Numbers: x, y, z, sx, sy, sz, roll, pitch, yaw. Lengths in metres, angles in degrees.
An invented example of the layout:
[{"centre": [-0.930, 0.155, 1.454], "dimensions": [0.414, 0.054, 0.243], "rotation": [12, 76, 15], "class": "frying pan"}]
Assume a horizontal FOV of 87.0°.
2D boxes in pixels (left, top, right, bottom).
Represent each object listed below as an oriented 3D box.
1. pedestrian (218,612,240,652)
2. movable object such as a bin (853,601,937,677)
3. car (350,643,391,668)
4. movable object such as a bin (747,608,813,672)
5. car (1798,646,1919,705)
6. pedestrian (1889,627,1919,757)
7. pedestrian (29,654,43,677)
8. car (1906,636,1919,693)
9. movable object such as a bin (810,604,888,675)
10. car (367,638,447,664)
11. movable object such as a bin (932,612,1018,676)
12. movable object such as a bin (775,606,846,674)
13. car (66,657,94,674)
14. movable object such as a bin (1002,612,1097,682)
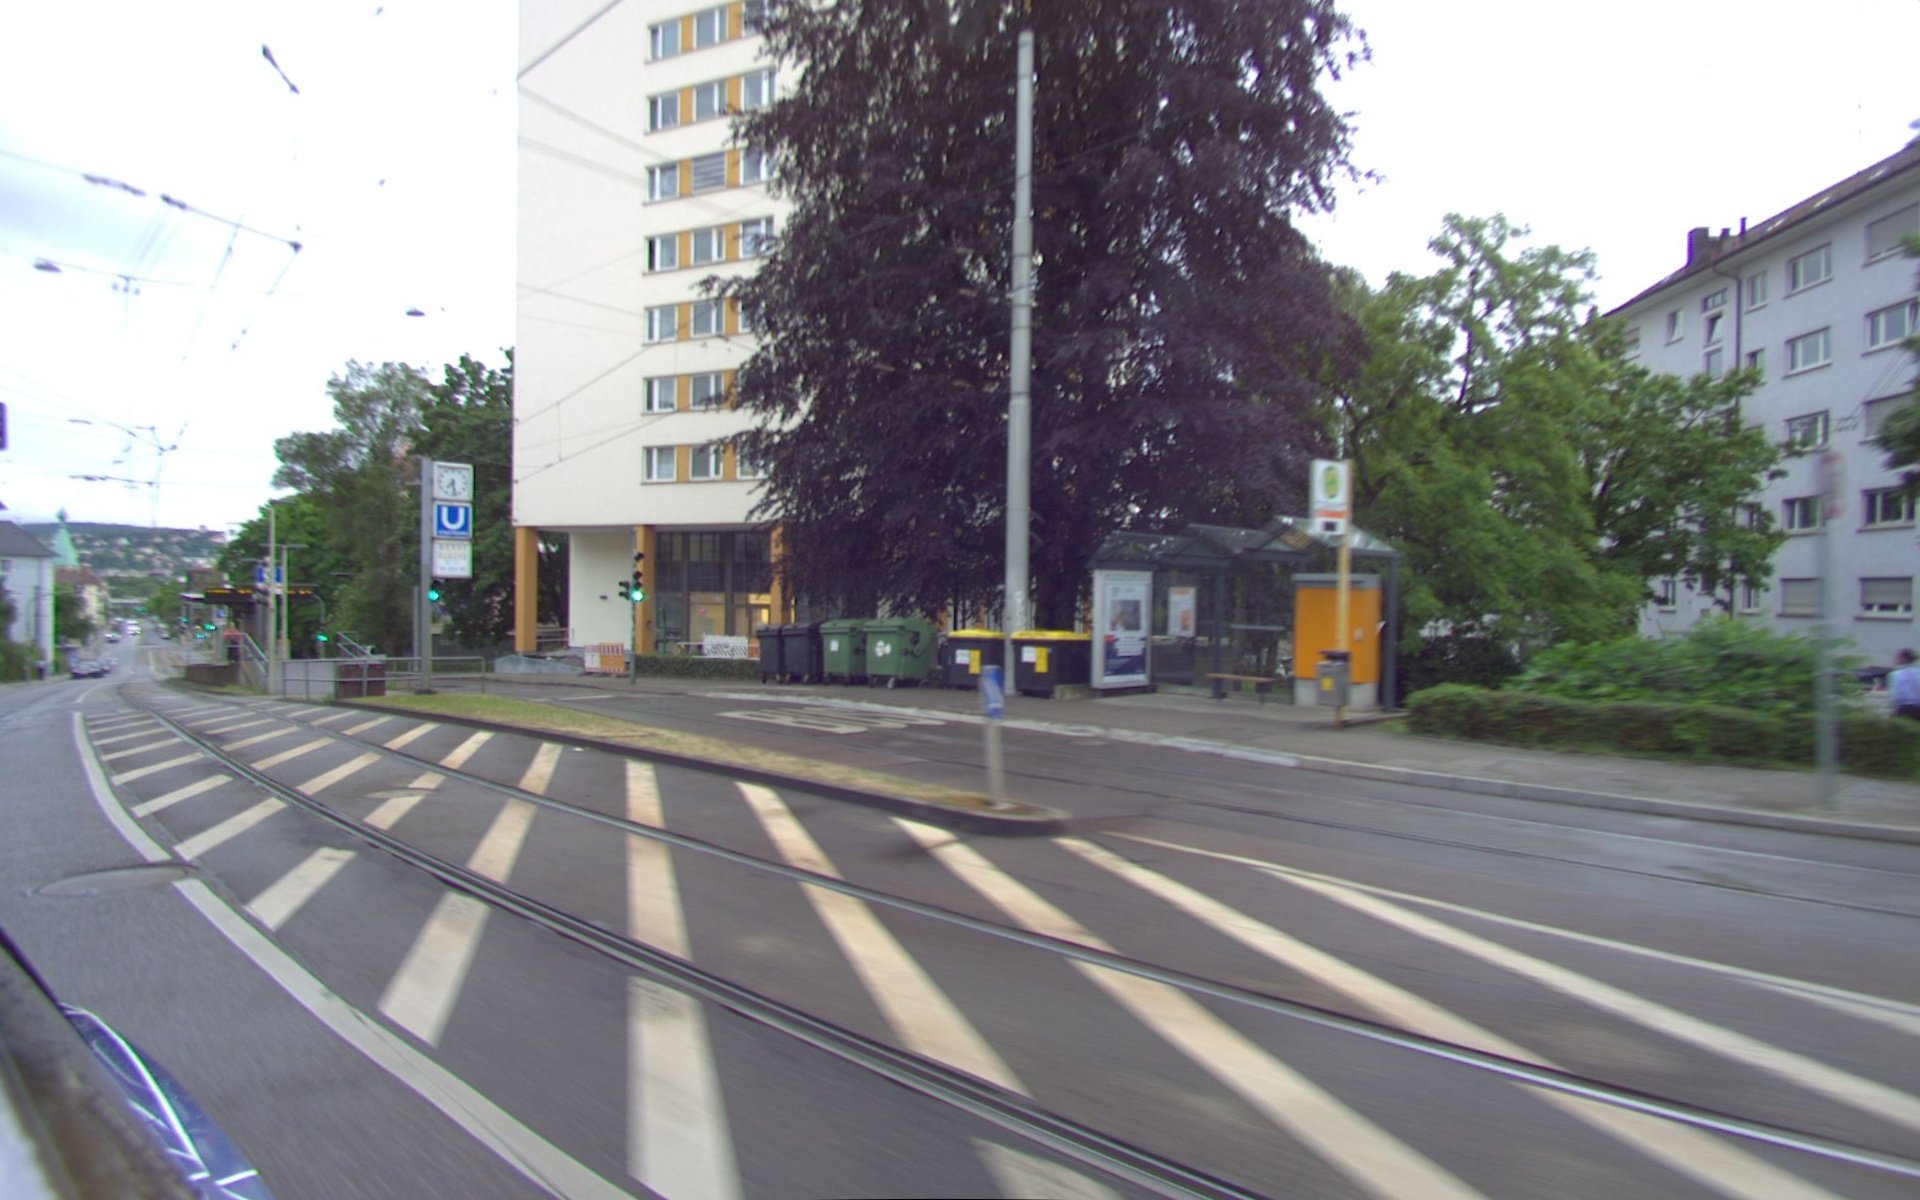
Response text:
[{"centre": [-29.035, 1.284, 40.195], "dimensions": [0.662, 1.560, 0.772], "rotation": [1, -3, -41], "class": "pedestrian"}, {"centre": [-1.334, 0.773, 20.520], "dimensions": [1.008, 1.444, 1.430], "rotation": [-2, -1, -38], "class": "movable object such as a bin"}, {"centre": [-42.728, 3.999, 73.307], "dimensions": [1.725, 1.730, 4.447], "rotation": [0, -3, -41], "class": "car"}, {"centre": [-4.322, 0.960, 24.257], "dimensions": [1.008, 1.444, 1.306], "rotation": [-2, -1, -38], "class": "movable object such as a bin"}, {"centre": [25.626, 2.101, 28.708], "dimensions": [1.378, 1.452, 3.056], "rotation": [0, 0, 6], "class": "car"}, {"centre": [12.804, 1.209, 13.355], "dimensions": [0.775, 1.697, 0.562], "rotation": [0, -2, 42], "class": "pedestrian"}, {"centre": [-67.871, 4.819, 74.343], "dimensions": [0.647, 1.633, 0.631], "rotation": [0, -2, -35], "class": "pedestrian"}, {"centre": [25.236, 1.653, 24.642], "dimensions": [1.508, 1.452, 3.318], "rotation": [0, 0, 6], "class": "car"}, {"centre": [-2.423, 0.841, 21.958], "dimensions": [1.008, 1.444, 1.447], "rotation": [-2, -1, -38], "class": "movable object such as a bin"}, {"centre": [-36.438, 3.332, 66.819], "dimensions": [4.416, 1.554, 1.951], "rotation": [-1, -2, -20], "class": "car"}, {"centre": [0.282, 0.843, 19.563], "dimensions": [1.008, 1.147, 1.345], "rotation": [-2, -1, -38], "class": "movable object such as a bin"}, {"centre": [-3.414, 0.908, 23.076], "dimensions": [1.008, 1.444, 1.358], "rotation": [-2, -1, -38], "class": "movable object such as a bin"}, {"centre": [-78.606, 5.830, 90.434], "dimensions": [1.699, 1.368, 4.007], "rotation": [-1, -1, -39], "class": "car"}, {"centre": [1.599, 0.833, 18.129], "dimensions": [1.008, 1.147, 1.345], "rotation": [-2, -1, -38], "class": "movable object such as a bin"}]
